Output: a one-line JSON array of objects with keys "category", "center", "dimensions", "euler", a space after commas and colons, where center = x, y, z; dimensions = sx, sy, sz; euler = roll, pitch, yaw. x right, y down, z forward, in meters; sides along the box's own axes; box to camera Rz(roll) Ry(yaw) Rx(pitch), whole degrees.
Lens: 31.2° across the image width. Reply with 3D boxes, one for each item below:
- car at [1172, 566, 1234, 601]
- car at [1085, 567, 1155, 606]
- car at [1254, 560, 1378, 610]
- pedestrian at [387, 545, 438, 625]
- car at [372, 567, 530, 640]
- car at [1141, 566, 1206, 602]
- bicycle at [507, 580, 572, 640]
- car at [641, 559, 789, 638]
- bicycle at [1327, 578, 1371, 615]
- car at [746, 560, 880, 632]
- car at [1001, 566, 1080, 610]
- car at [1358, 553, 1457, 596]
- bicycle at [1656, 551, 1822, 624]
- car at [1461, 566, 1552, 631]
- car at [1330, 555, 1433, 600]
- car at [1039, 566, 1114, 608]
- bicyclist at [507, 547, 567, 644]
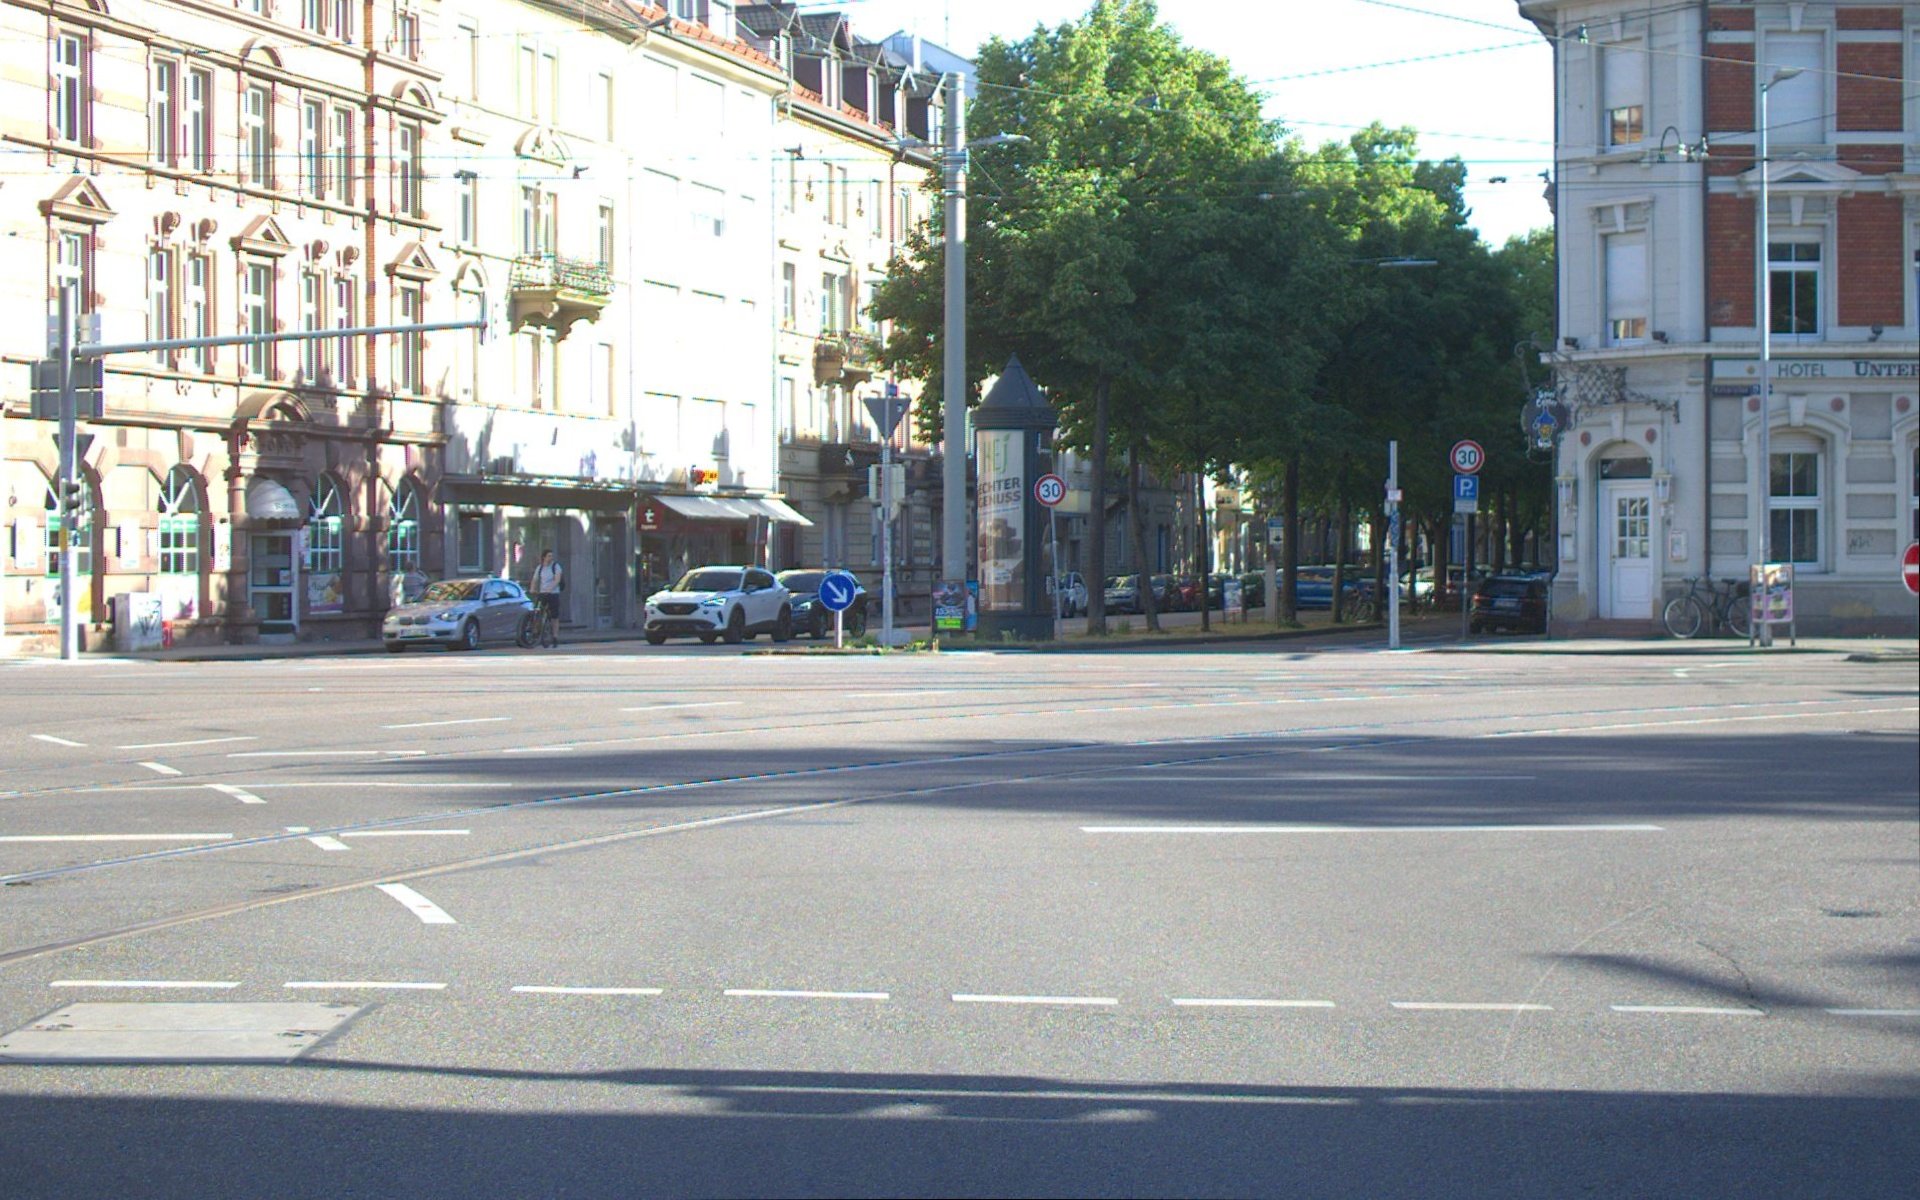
[{"category": "car", "center": [9.609, -0.654, 135.775], "dimensions": [1.678, 1.349, 3.588], "euler": [0, 1, 16]}, {"category": "car", "center": [5.703, -0.482, 122.439], "dimensions": [1.678, 1.349, 3.588], "euler": [0, 1, 16]}, {"category": "car", "center": [11.990, -0.510, 115.676], "dimensions": [3.905, 1.642, 1.681], "euler": [0, 1, 17]}, {"category": "pedestrian", "center": [-11.597, -0.325, 72.827], "dimensions": [0.776, 1.664, 0.830], "euler": [1, 0, 15]}, {"category": "car", "center": [-9.869, 0.054, 66.906], "dimensions": [1.678, 1.349, 3.588], "euler": [0, 1, 16]}, {"category": "car", "center": [8.138, -0.615, 130.745], "dimensions": [1.678, 1.349, 3.588], "euler": [0, 1, 16]}, {"category": "bicycle", "center": [-7.976, 0.184, 65.261], "dimensions": [0.702, 1.114, 1.634], "euler": [1, 1, 13]}, {"category": "car", "center": [-4.759, -0.053, 67.310], "dimensions": [1.678, 1.478, 3.768], "euler": [0, 1, 16]}, {"category": "bicycle", "center": [11.261, -0.104, 99.482], "dimensions": [0.636, 1.018, 1.847], "euler": [1, 1, -14]}, {"category": "car", "center": [-3.118, -0.103, 73.612], "dimensions": [1.678, 1.478, 3.945], "euler": [0, 1, 16]}, {"category": "car", "center": [2.635, -0.401, 111.320], "dimensions": [1.678, 1.349, 3.588], "euler": [0, 1, 16]}, {"category": "car", "center": [17.385, -1.001, 133.505], "dimensions": [3.582, 1.642, 1.681], "euler": [0, 1, 17]}, {"category": "bicycle", "center": [12.973, -0.207, 57.274], "dimensions": [2.554, 1.170, 0.819], "euler": [1, 0, -3]}, {"category": "car", "center": [13.151, -0.057, 82.572], "dimensions": [1.678, 1.478, 3.945], "euler": [0, 1, 16]}, {"category": "car", "center": [15.711, -0.846, 128.031], "dimensions": [3.582, 1.642, 1.681], "euler": [0, 1, 17]}, {"category": "car", "center": [3.932, -0.444, 115.477], "dimensions": [1.678, 1.349, 3.588], "euler": [0, 1, 16]}, {"category": "bicyclist", "center": [-8.012, -0.089, 65.135], "dimensions": [0.779, 1.797, 1.055], "euler": [1, 0, 14]}]
